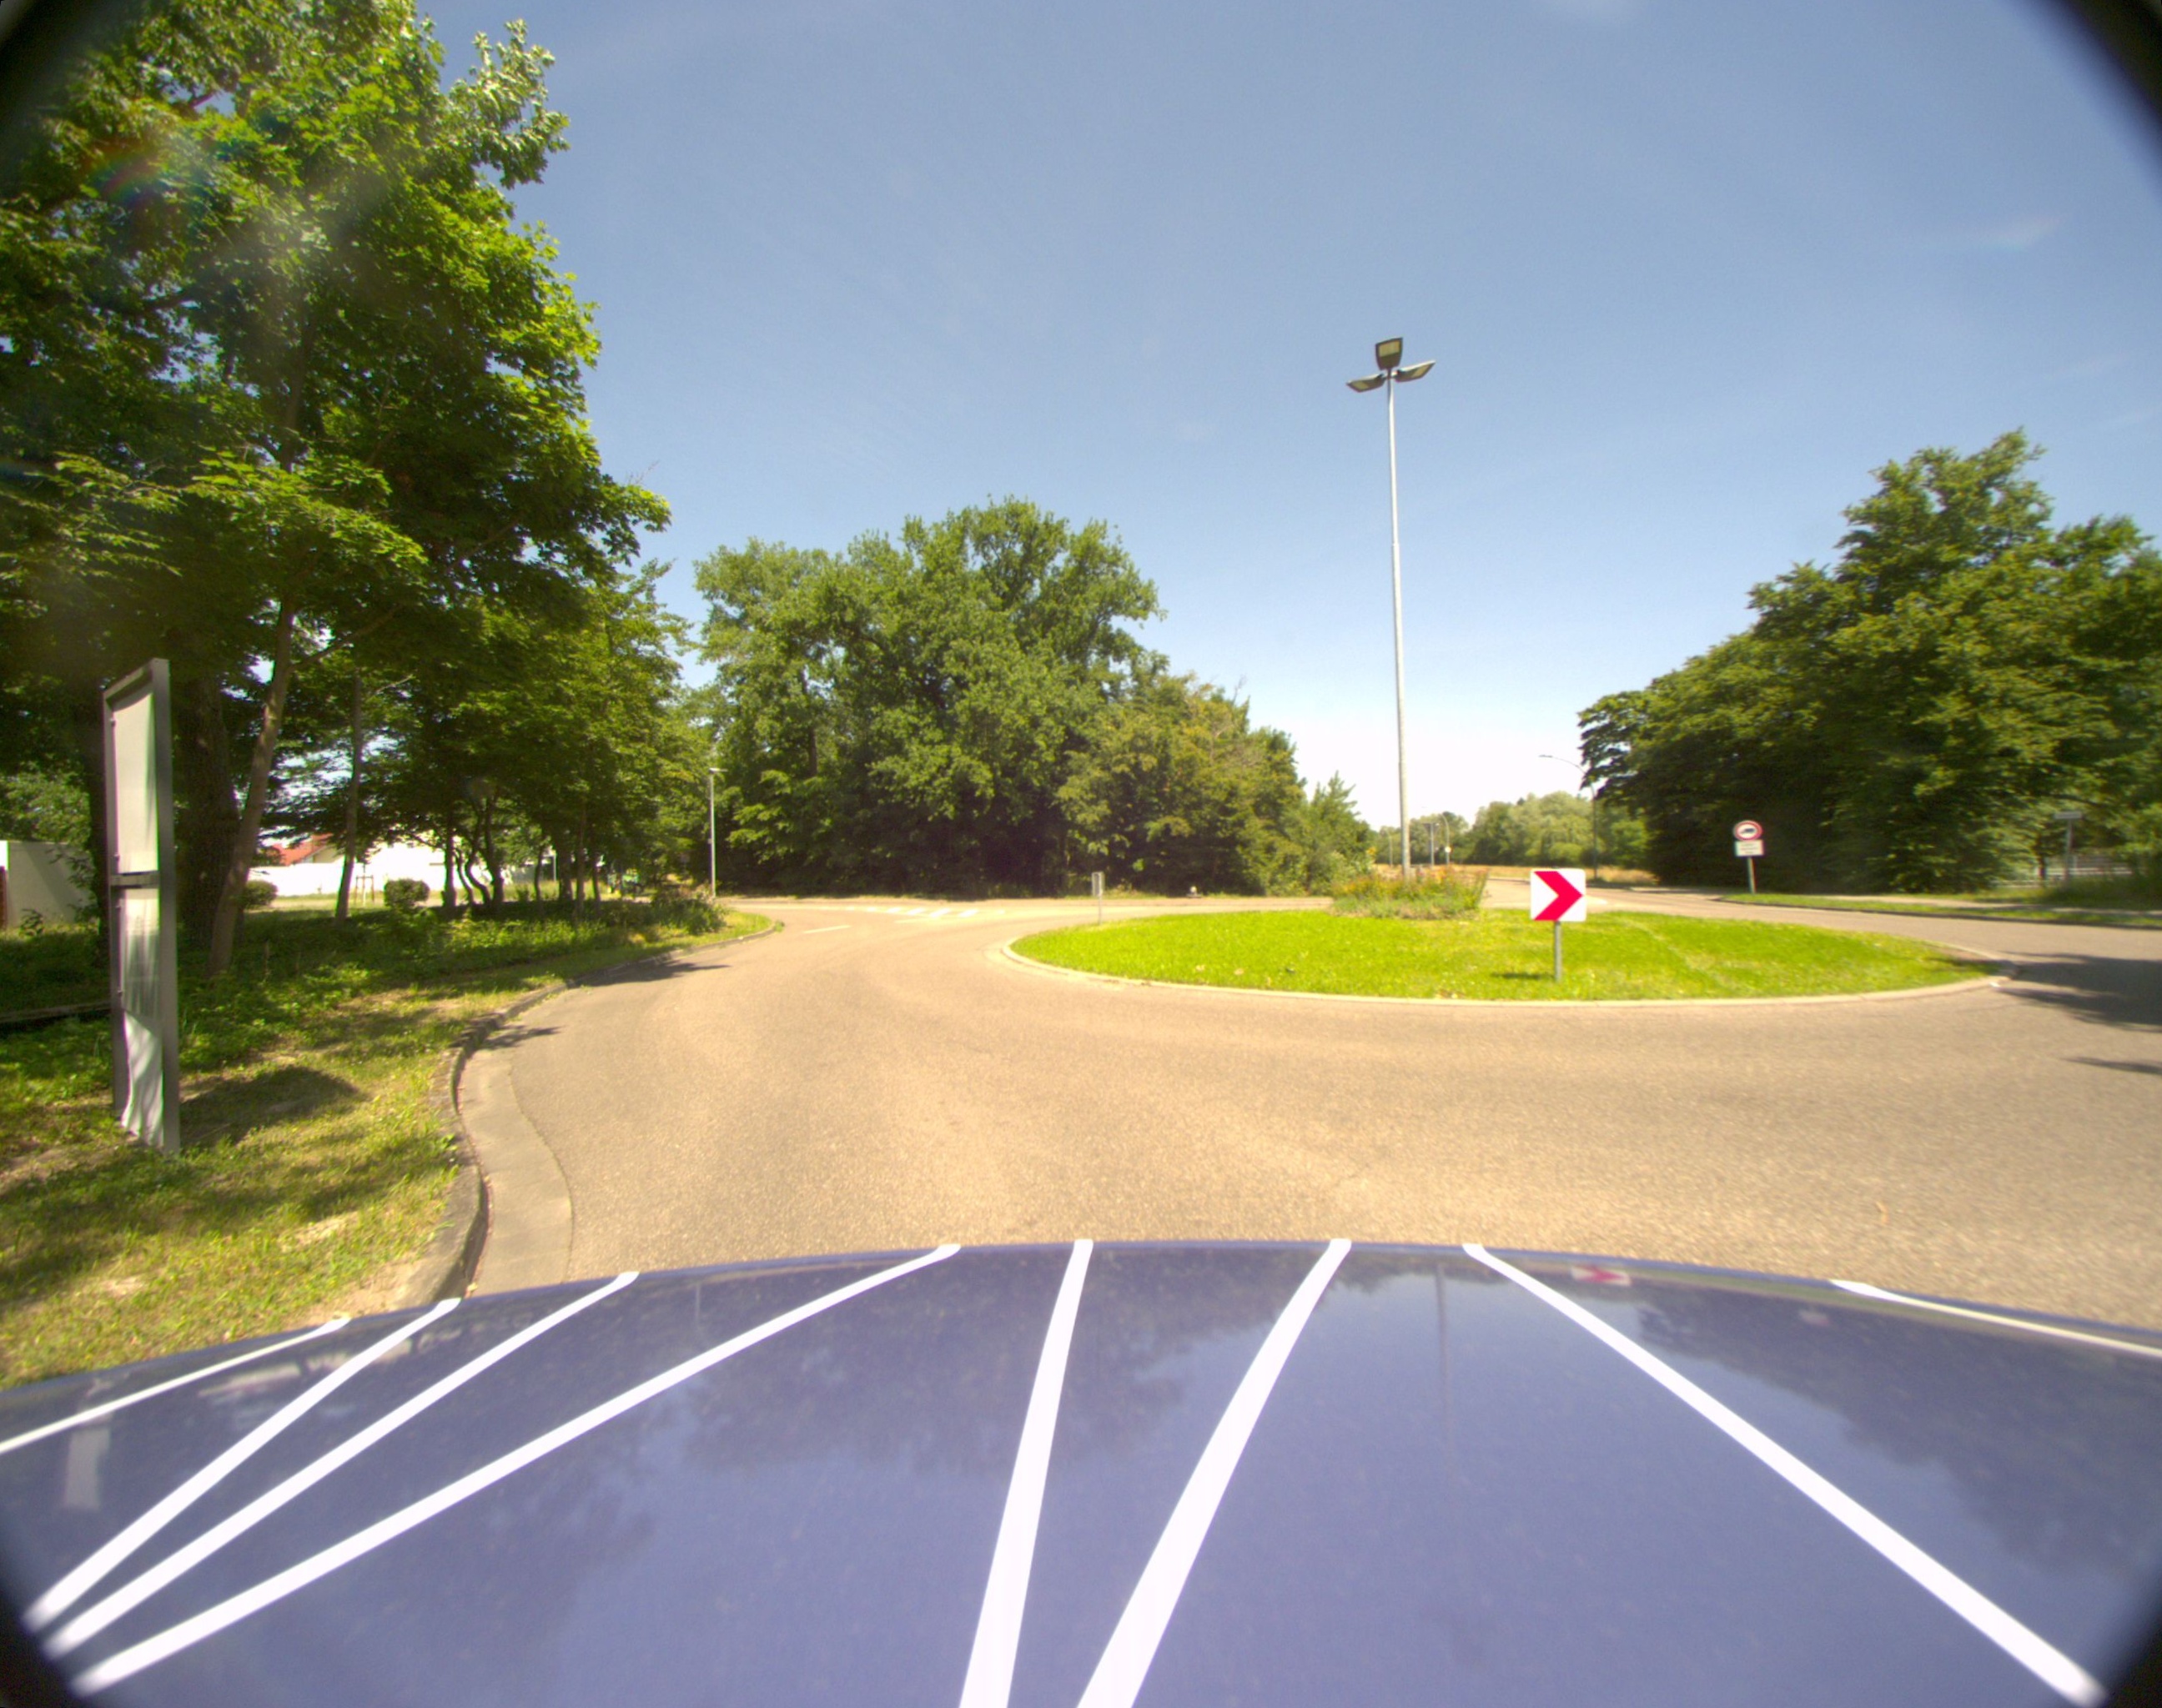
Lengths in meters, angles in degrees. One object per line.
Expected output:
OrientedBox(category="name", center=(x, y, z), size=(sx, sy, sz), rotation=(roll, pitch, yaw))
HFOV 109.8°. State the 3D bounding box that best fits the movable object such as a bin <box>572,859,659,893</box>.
OrientedBox(category="movable object such as a bin", center=(-32.762, 1.568, 53.443), size=(5.227, 2.263, 2.527), rotation=(-1, 0, 21))
